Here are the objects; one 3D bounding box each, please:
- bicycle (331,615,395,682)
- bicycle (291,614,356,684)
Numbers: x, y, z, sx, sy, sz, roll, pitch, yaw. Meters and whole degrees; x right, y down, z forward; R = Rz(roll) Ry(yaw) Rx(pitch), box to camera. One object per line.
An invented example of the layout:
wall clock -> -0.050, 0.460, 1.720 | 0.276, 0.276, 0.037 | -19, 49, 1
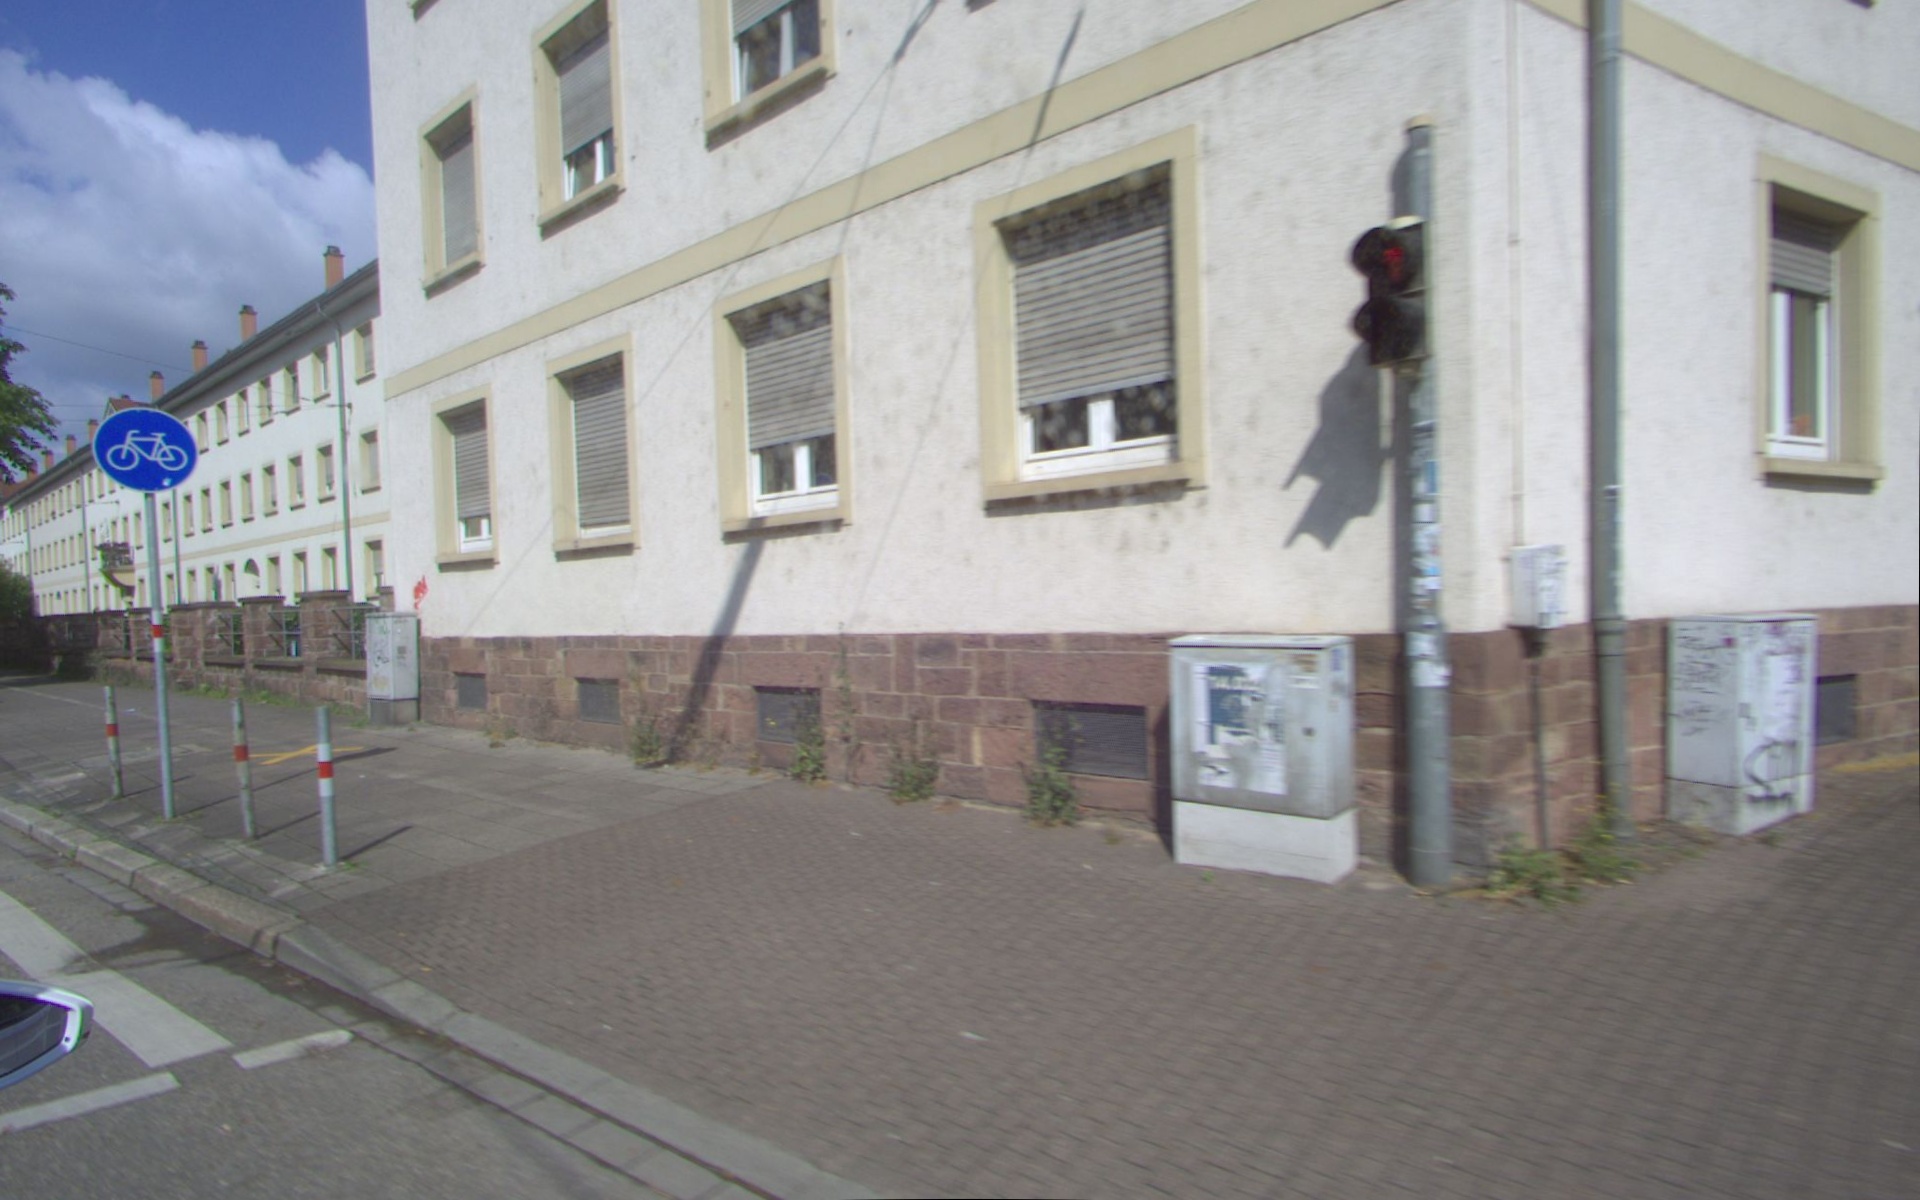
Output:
bicycle -> -11.280, 0.901, 18.903 | 1.472, 1.217, 0.502 | -1, 1, 38
bicycle -> -11.656, 0.888, 18.317 | 1.472, 1.217, 0.502 | -1, 1, 38
